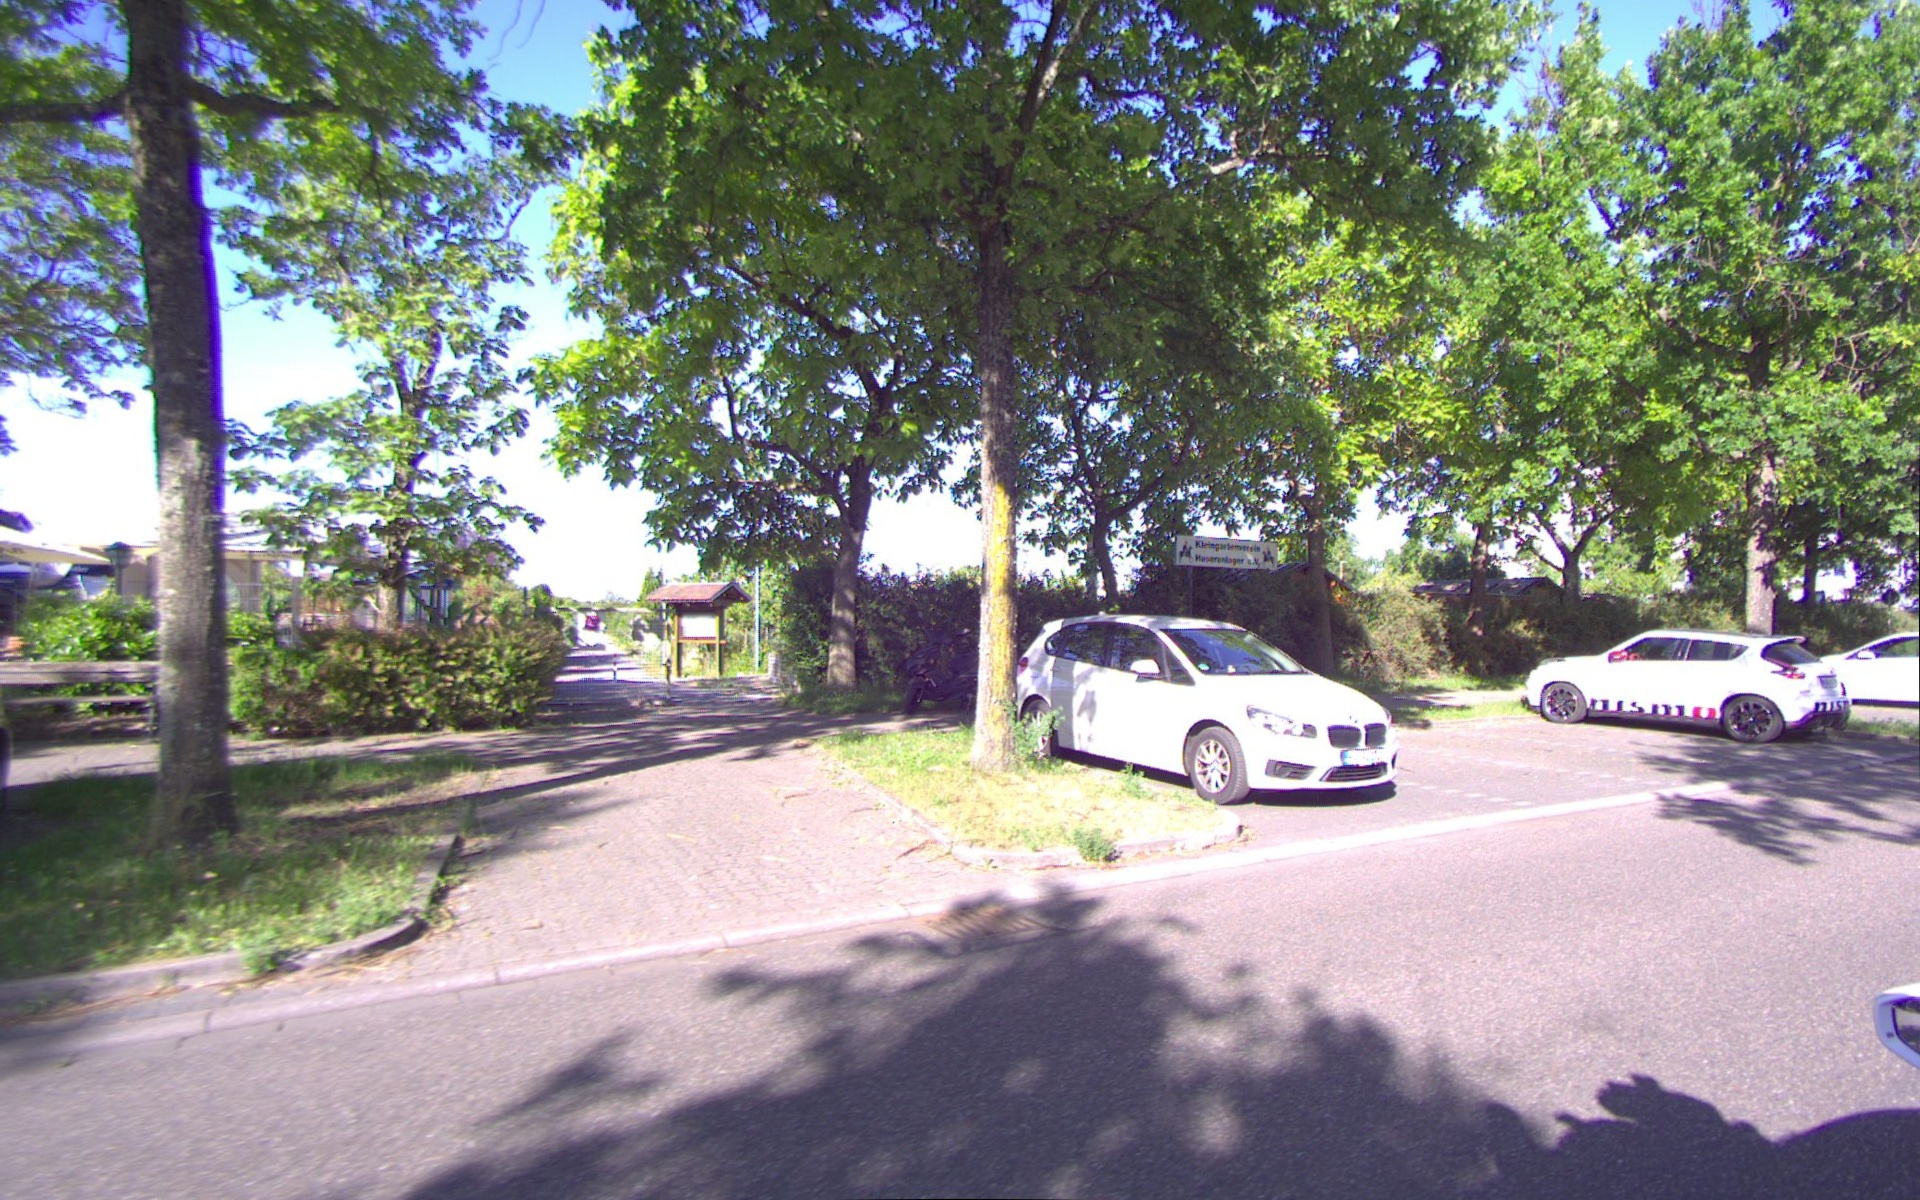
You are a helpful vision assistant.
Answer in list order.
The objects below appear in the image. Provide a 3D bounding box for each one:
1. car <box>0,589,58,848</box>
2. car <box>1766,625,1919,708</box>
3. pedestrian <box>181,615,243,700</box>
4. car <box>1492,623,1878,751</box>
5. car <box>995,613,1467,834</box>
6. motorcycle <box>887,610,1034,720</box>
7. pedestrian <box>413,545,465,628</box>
[{"bbox_3d":[-6.173,0.717,4.814,1.843,1.577,4.117,1,0,-29],"label":"car"},{"bbox_3d":[19.994,1.389,20.913,2.169,1.579,4.596,1,0,-34],"label":"car"},{"bbox_3d":[-12.980,0.983,17.436,0.856,1.432,0.663,-1,-2,40],"label":"pedestrian"},{"bbox_3d":[10.919,1.187,15.484,2.065,1.531,4.389,1,0,-31],"label":"car"},{"bbox_3d":[2.361,0.973,9.984,2.063,1.577,4.393,1,0,-29],"label":"car"},{"bbox_3d":[0.019,0.894,14.385,1.968,1.452,0.733,1,2,-31],"label":"motorcycle"},{"bbox_3d":[-9.199,-0.215,17.755,0.654,1.432,0.644,1,-1,-14],"label":"pedestrian"}]
